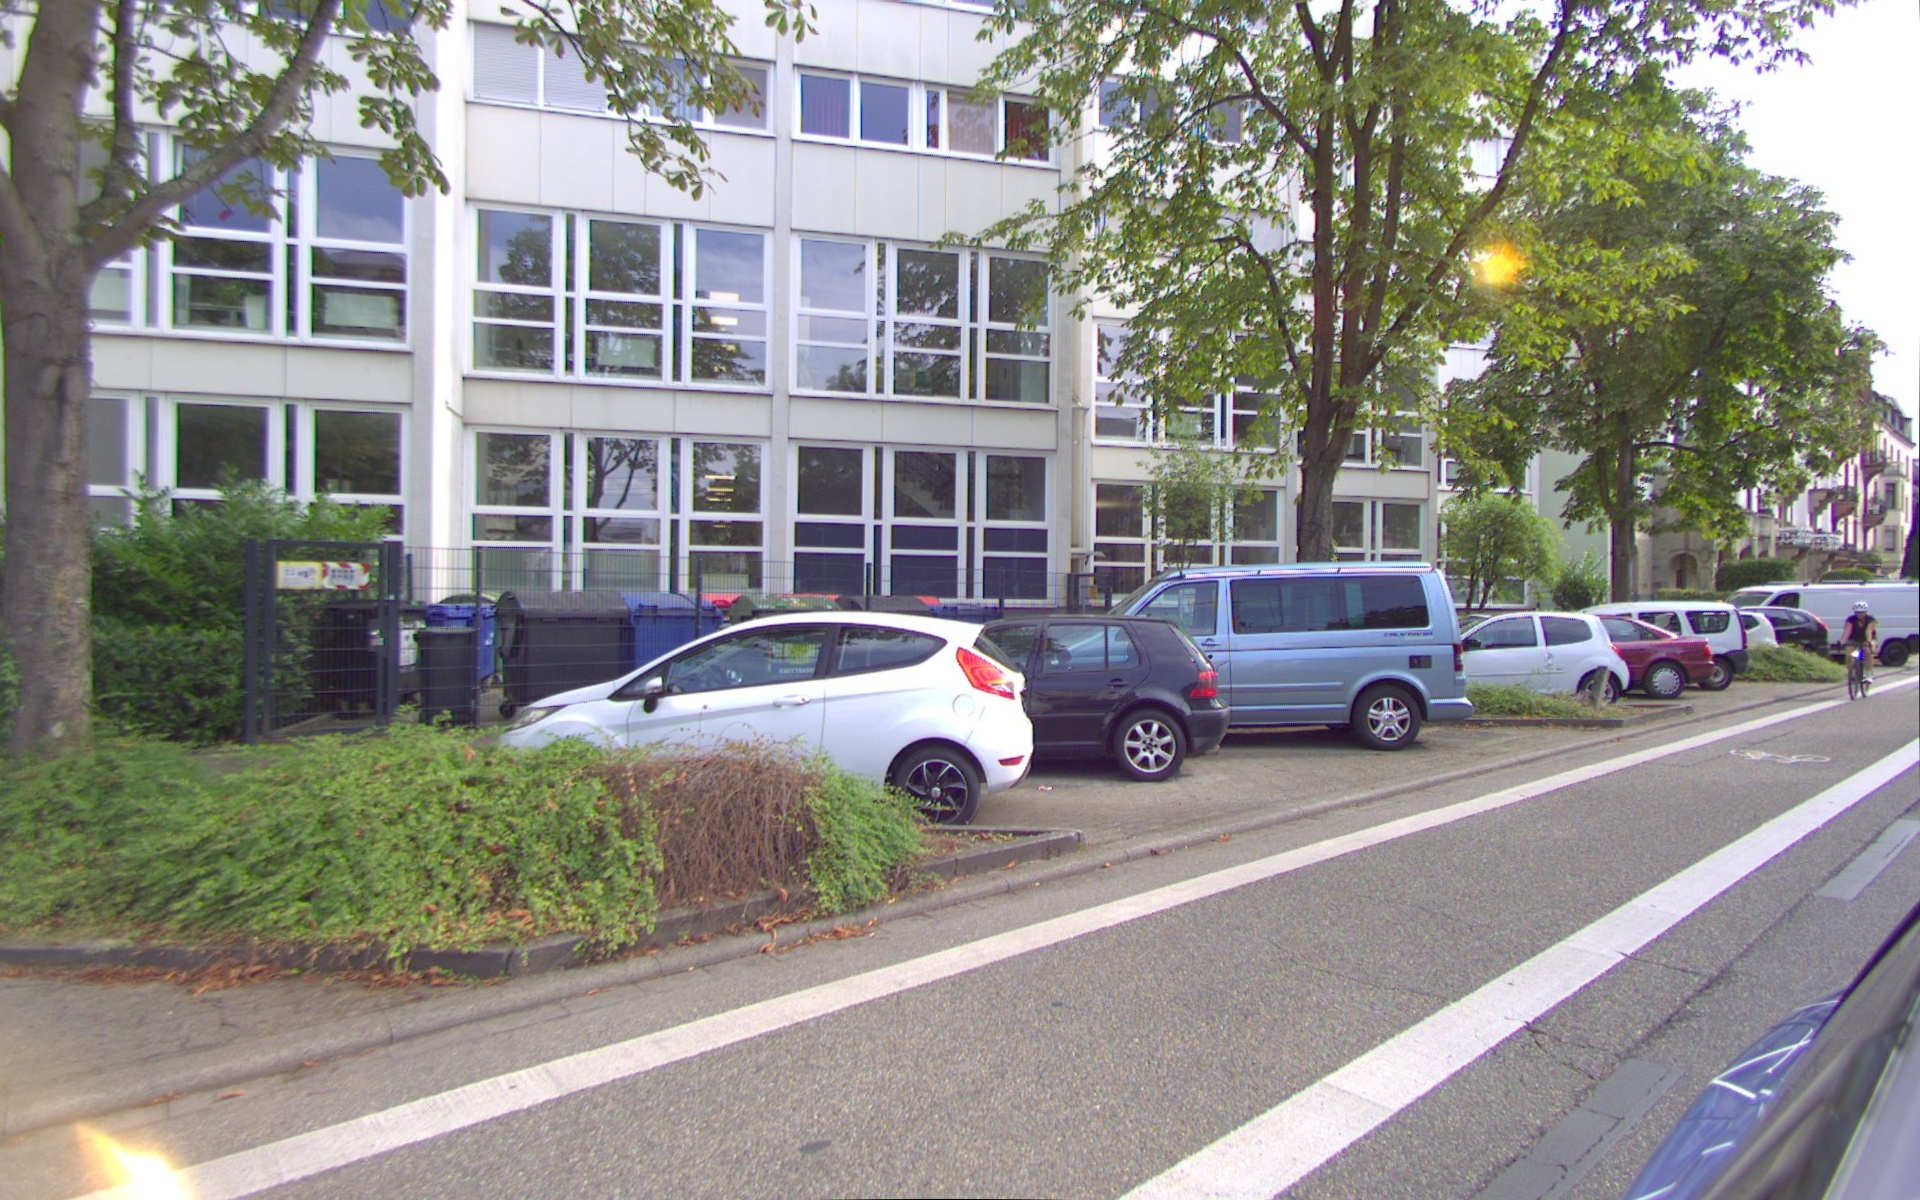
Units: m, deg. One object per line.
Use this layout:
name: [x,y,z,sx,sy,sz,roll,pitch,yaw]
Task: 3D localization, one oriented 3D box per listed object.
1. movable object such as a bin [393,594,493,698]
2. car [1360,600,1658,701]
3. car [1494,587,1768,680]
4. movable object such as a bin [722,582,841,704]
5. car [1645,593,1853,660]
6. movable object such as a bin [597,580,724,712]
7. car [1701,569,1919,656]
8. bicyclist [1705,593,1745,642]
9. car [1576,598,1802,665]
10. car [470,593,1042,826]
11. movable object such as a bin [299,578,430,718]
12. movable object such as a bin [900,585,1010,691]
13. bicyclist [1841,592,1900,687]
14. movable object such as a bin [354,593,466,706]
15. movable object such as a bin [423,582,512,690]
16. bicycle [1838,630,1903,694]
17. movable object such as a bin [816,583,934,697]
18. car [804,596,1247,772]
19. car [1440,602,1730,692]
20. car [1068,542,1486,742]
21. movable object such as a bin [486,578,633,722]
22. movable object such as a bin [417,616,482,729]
movable object such as a bin: [-7.196,0.614,14.147,1.056,1.385,1.037,0,-1,-16]
car: [8.360,0.742,15.695,3.651,1.451,1.687,0,0,6]
car: [12.786,0.617,19.487,4.036,1.689,1.687,0,0,5]
movable object such as a bin: [-2.370,0.542,13.437,1.192,1.527,1.071,0,-1,-39]
car: [20.277,0.652,26.149,3.891,1.669,1.687,0,0,6]
movable object such as a bin: [-3.712,0.539,12.545,1.192,1.527,1.071,0,-1,-39]
car: [24.125,0.330,28.302,4.875,2.319,2.380,0,0,8]
bicyclist: [24.053,0.545,31.842,0.784,1.488,0.651,1,2,-24]
car: [17.225,0.716,24.086,4.020,1.530,1.687,0,0,6]
car: [-1.316,0.697,7.373,3.759,1.478,1.639,0,0,4]
movable object such as a bin: [-6.918,0.534,11.830,1.056,1.542,1.121,0,-1,-16]
movable object such as a bin: [-0.073,0.550,15.412,1.299,1.527,1.071,0,-1,-39]
bicyclist: [15.832,0.659,17.588,1.091,1.590,0.639,0,1,-42]
movable object such as a bin: [-7.059,0.607,13.051,1.056,1.385,1.037,0,-1,-16]
movable object such as a bin: [-7.498,0.524,15.472,1.056,1.582,1.037,0,-1,-16]
bicycle: [15.861,1.052,17.621,2.036,0.993,0.639,0,1,-43]
movable object such as a bin: [-1.214,0.546,14.413,1.299,1.527,1.071,0,-1,-39]
car: [0.570,0.706,9.455,3.759,1.478,1.675,0,0,4]
car: [10.702,0.772,17.588,3.909,1.451,1.685,0,0,8]
car: [3.358,0.431,11.476,4.201,2.040,1.829,0,0,6]
movable object such as a bin: [-4.600,0.535,11.613,1.310,1.527,1.071,0,-1,-39]
movable object such as a bin: [-5.350,0.736,10.593,0.561,1.117,0.653,0,-1,-31]
